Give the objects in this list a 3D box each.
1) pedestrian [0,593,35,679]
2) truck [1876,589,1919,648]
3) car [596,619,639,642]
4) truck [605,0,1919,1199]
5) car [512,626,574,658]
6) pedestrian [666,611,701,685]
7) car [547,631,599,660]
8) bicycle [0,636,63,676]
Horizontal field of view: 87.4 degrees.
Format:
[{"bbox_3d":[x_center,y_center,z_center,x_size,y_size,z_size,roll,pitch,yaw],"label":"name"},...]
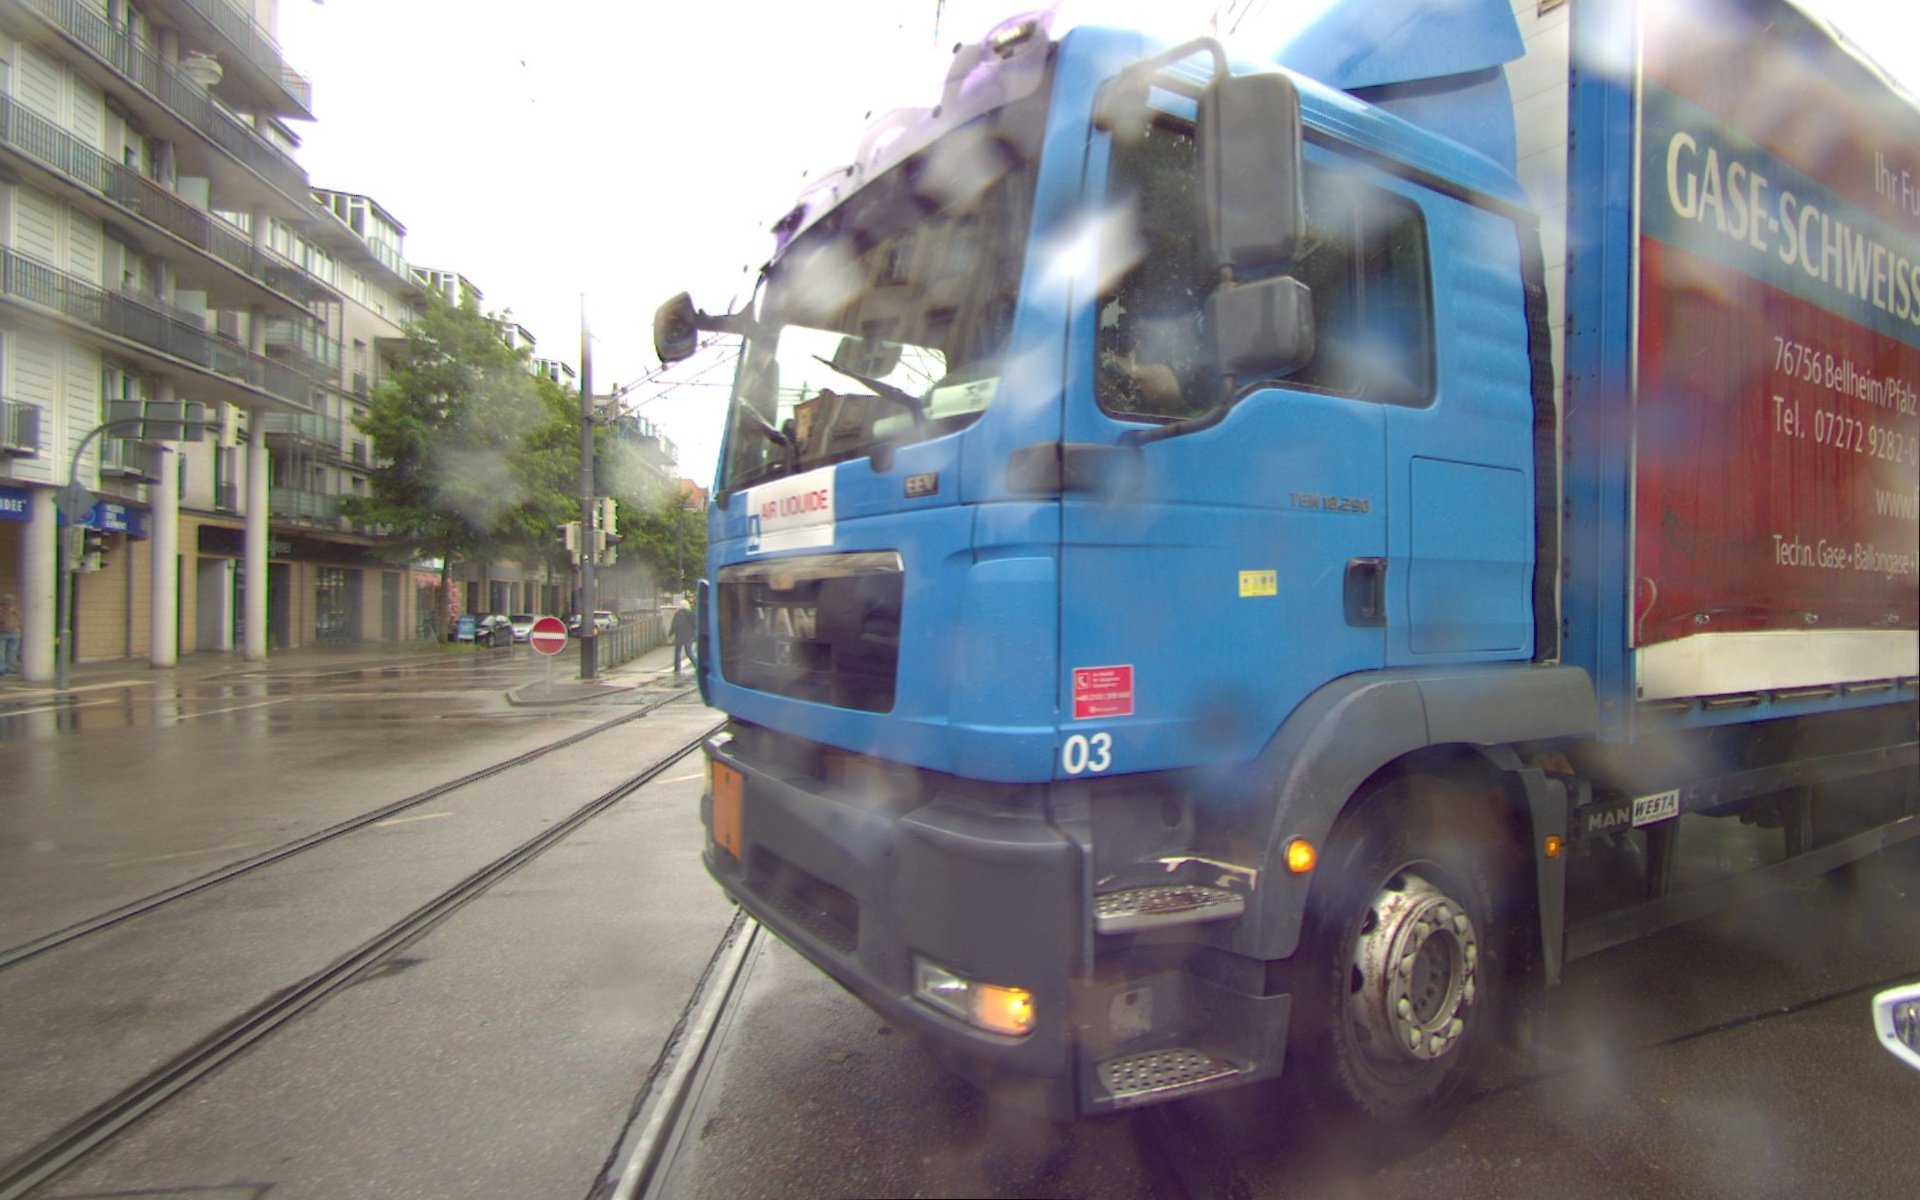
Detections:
[{"bbox_3d":[-20.393,0.766,21.557,0.490,1.804,0.611,1,0,-6],"label":"pedestrian"},{"bbox_3d":[61.148,1.161,62.566,2.146,3.693,5.663,1,-1,-26],"label":"truck"},{"bbox_3d":[-21.904,1.936,64.364,1.791,1.439,3.995,1,-1,-7],"label":"car"},{"bbox_3d":[3.658,-0.491,5.512,10.204,4.078,2.830,1,-1,-33],"label":"truck"},{"bbox_3d":[-20.361,2.036,49.246,1.791,1.439,3.995,1,-1,-7],"label":"car"},{"bbox_3d":[-6.367,1.095,23.141,0.743,1.670,0.835,1,-1,-15],"label":"pedestrian"},{"bbox_3d":[-21.396,2.486,55.704,1.791,1.439,3.995,1,-1,-7],"label":"car"},{"bbox_3d":[-22.318,1.307,23.763,0.570,0.878,1.926,1,-1,-4],"label":"bicycle"}]
